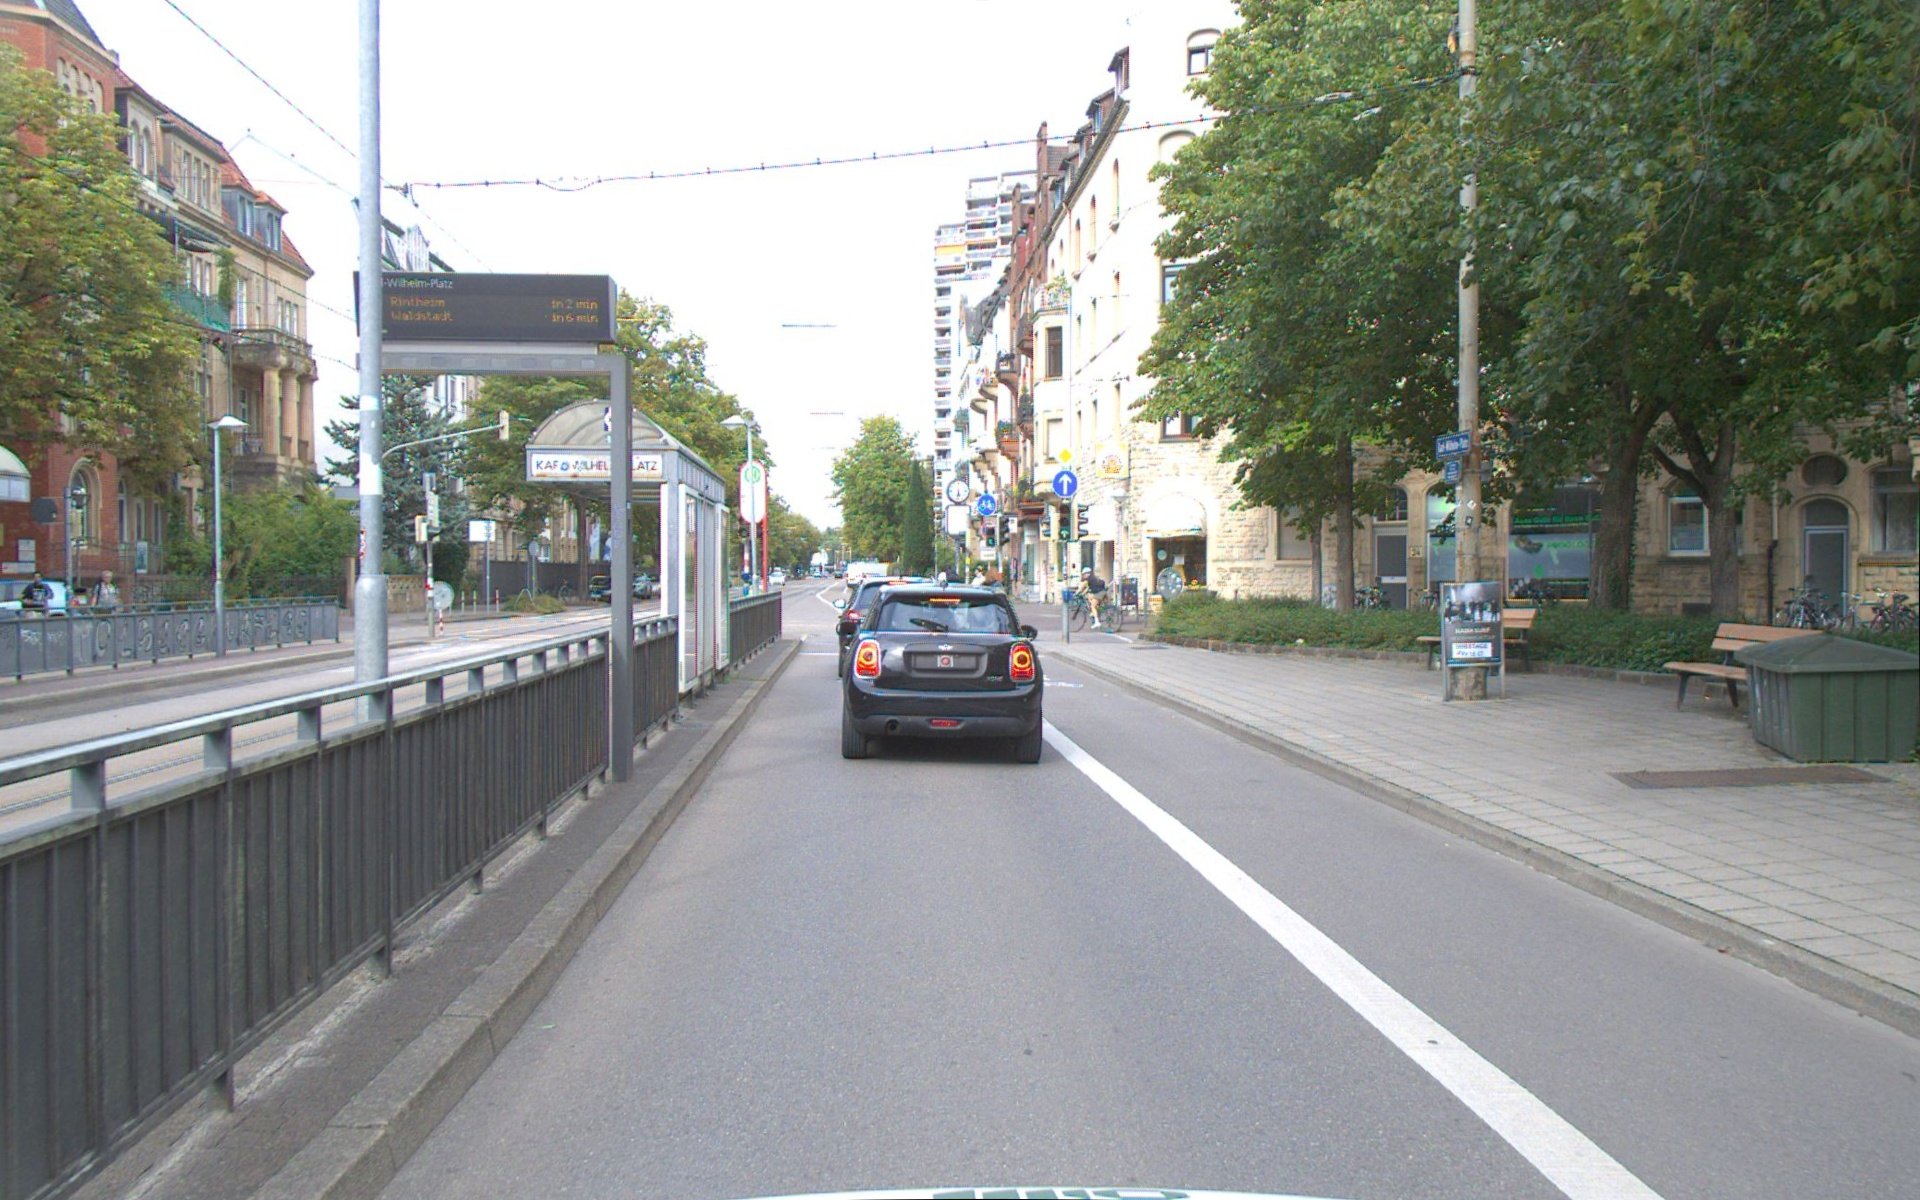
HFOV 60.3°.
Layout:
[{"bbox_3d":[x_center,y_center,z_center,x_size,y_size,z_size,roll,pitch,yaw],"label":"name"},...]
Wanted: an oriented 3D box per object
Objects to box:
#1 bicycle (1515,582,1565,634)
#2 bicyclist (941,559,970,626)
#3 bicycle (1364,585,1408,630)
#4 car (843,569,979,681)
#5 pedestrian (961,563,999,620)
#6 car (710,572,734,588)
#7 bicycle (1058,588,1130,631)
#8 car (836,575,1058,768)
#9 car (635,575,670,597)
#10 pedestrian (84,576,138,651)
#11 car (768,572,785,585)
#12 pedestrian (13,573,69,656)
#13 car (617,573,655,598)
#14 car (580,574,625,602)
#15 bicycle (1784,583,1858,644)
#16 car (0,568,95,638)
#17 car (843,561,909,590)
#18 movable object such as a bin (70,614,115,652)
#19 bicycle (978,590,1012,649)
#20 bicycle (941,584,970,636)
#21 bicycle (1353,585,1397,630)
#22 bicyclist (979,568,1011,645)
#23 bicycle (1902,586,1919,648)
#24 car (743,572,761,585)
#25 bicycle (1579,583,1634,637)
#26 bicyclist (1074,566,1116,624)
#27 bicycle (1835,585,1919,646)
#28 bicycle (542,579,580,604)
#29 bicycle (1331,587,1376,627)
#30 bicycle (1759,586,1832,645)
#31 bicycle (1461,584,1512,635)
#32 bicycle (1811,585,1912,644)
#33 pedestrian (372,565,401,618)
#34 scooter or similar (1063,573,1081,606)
[{"bbox_3d":[13.405,0.177,38.218,0.522,1.147,1.885,0,1,38],"label":"bicycle"},{"bbox_3d":[-0.116,-0.189,39.866,0.670,1.591,0.998,-1,1,-2],"label":"bicyclist"},{"bbox_3d":[10.589,0.178,41.122,0.441,1.073,1.642,0,1,38],"label":"bicycle"},{"bbox_3d":[-0.802,0.312,25.033,1.889,1.536,3.997,0,1,-4],"label":"car"},{"bbox_3d":[0.633,-0.267,51.651,0.720,1.703,0.830,-2,2,43],"label":"pedestrian"},{"bbox_3d":[-23.640,-2.012,164.215,1.954,1.579,3.998,0,1,-3],"label":"car"},{"bbox_3d":[3.479,0.234,43.110,1.781,1.095,0.615,0,1,31],"label":"bicycle"},{"bbox_3d":[-0.195,0.536,15.033,1.717,1.466,3.998,1,1,-3],"label":"car"},{"bbox_3d":[-19.715,-0.911,106.139,1.732,1.419,3.997,0,1,-4],"label":"car"},{"bbox_3d":[-19.139,0.296,37.306,0.853,1.661,0.743,-1,1,-9],"label":"pedestrian"},{"bbox_3d":[-20.543,-2.383,185.675,1.732,1.419,3.997,0,1,-4],"label":"car"},{"bbox_3d":[-19.473,0.302,35.055,0.817,1.732,0.731,-1,1,-9],"label":"pedestrian"},{"bbox_3d":[-19.279,-0.878,98.482,1.732,1.419,3.997,0,1,-4],"label":"car"},{"bbox_3d":[-18.655,-0.658,86.481,1.732,1.419,3.997,0,1,-4],"label":"car"},{"bbox_3d":[17.475,0.261,33.551,1.871,1.147,0.526,-3,2,-35],"label":"bicycle"},{"bbox_3d":[-23.108,0.062,39.054,2.173,1.605,4.321,1,1,43],"label":"car"},{"bbox_3d":[-6.650,-1.975,131.614,5.001,2.312,2.358,-1,1,-44],"label":"car"},{"bbox_3d":[-19.400,0.737,36.981,0.715,0.813,0.621,-1,1,-9],"label":"movable object such as a bin"},{"bbox_3d":[0.722,0.393,34.787,0.586,1.190,1.696,-1,1,-3],"label":"bicycle"},{"bbox_3d":[-0.116,0.233,39.933,0.670,1.190,1.696,-1,1,-1],"label":"bicycle"},{"bbox_3d":[10.415,0.173,41.494,0.441,1.073,1.642,0,1,38],"label":"bicycle"},{"bbox_3d":[0.726,0.120,34.780,0.582,1.577,1.013,-1,1,-3],"label":"bicyclist"},{"bbox_3d":[18.739,0.308,31.268,1.860,1.147,0.579,-1,1,-21],"label":"bicycle"},{"bbox_3d":[-26.490,-2.760,210.789,1.954,1.579,3.998,0,1,-3],"label":"car"},{"bbox_3d":[14.500,0.204,37.066,0.654,1.147,1.885,0,1,38],"label":"bicycle"},{"bbox_3d":[3.512,-0.143,43.088,0.895,1.498,0.615,0,1,30],"label":"bicyclist"},{"bbox_3d":[18.092,0.290,32.291,1.854,1.147,0.597,-1,1,-12],"label":"bicycle"},{"bbox_3d":[-19.050,-0.398,78.975,1.659,1.138,0.564,-2,2,-43],"label":"bicycle"},{"bbox_3d":[10.053,0.162,42.239,0.591,0.989,1.667,0,1,34],"label":"bicycle"},{"bbox_3d":[17.194,0.307,34.020,1.871,1.147,0.526,-2,2,-35],"label":"bicycle"},{"bbox_3d":[12.439,0.210,39.045,0.522,1.147,1.885,0,1,38],"label":"bicycle"},{"bbox_3d":[17.920,0.281,32.867,1.854,1.147,0.561,-1,1,-12],"label":"bicycle"},{"bbox_3d":[-19.787,-0.291,57.092,0.716,1.814,0.835,0,1,-3],"label":"pedestrian"},{"bbox_3d":[4.098,-0.398,60.799,0.498,1.209,1.261,-1,1,-3],"label":"scooter or similar"}]
